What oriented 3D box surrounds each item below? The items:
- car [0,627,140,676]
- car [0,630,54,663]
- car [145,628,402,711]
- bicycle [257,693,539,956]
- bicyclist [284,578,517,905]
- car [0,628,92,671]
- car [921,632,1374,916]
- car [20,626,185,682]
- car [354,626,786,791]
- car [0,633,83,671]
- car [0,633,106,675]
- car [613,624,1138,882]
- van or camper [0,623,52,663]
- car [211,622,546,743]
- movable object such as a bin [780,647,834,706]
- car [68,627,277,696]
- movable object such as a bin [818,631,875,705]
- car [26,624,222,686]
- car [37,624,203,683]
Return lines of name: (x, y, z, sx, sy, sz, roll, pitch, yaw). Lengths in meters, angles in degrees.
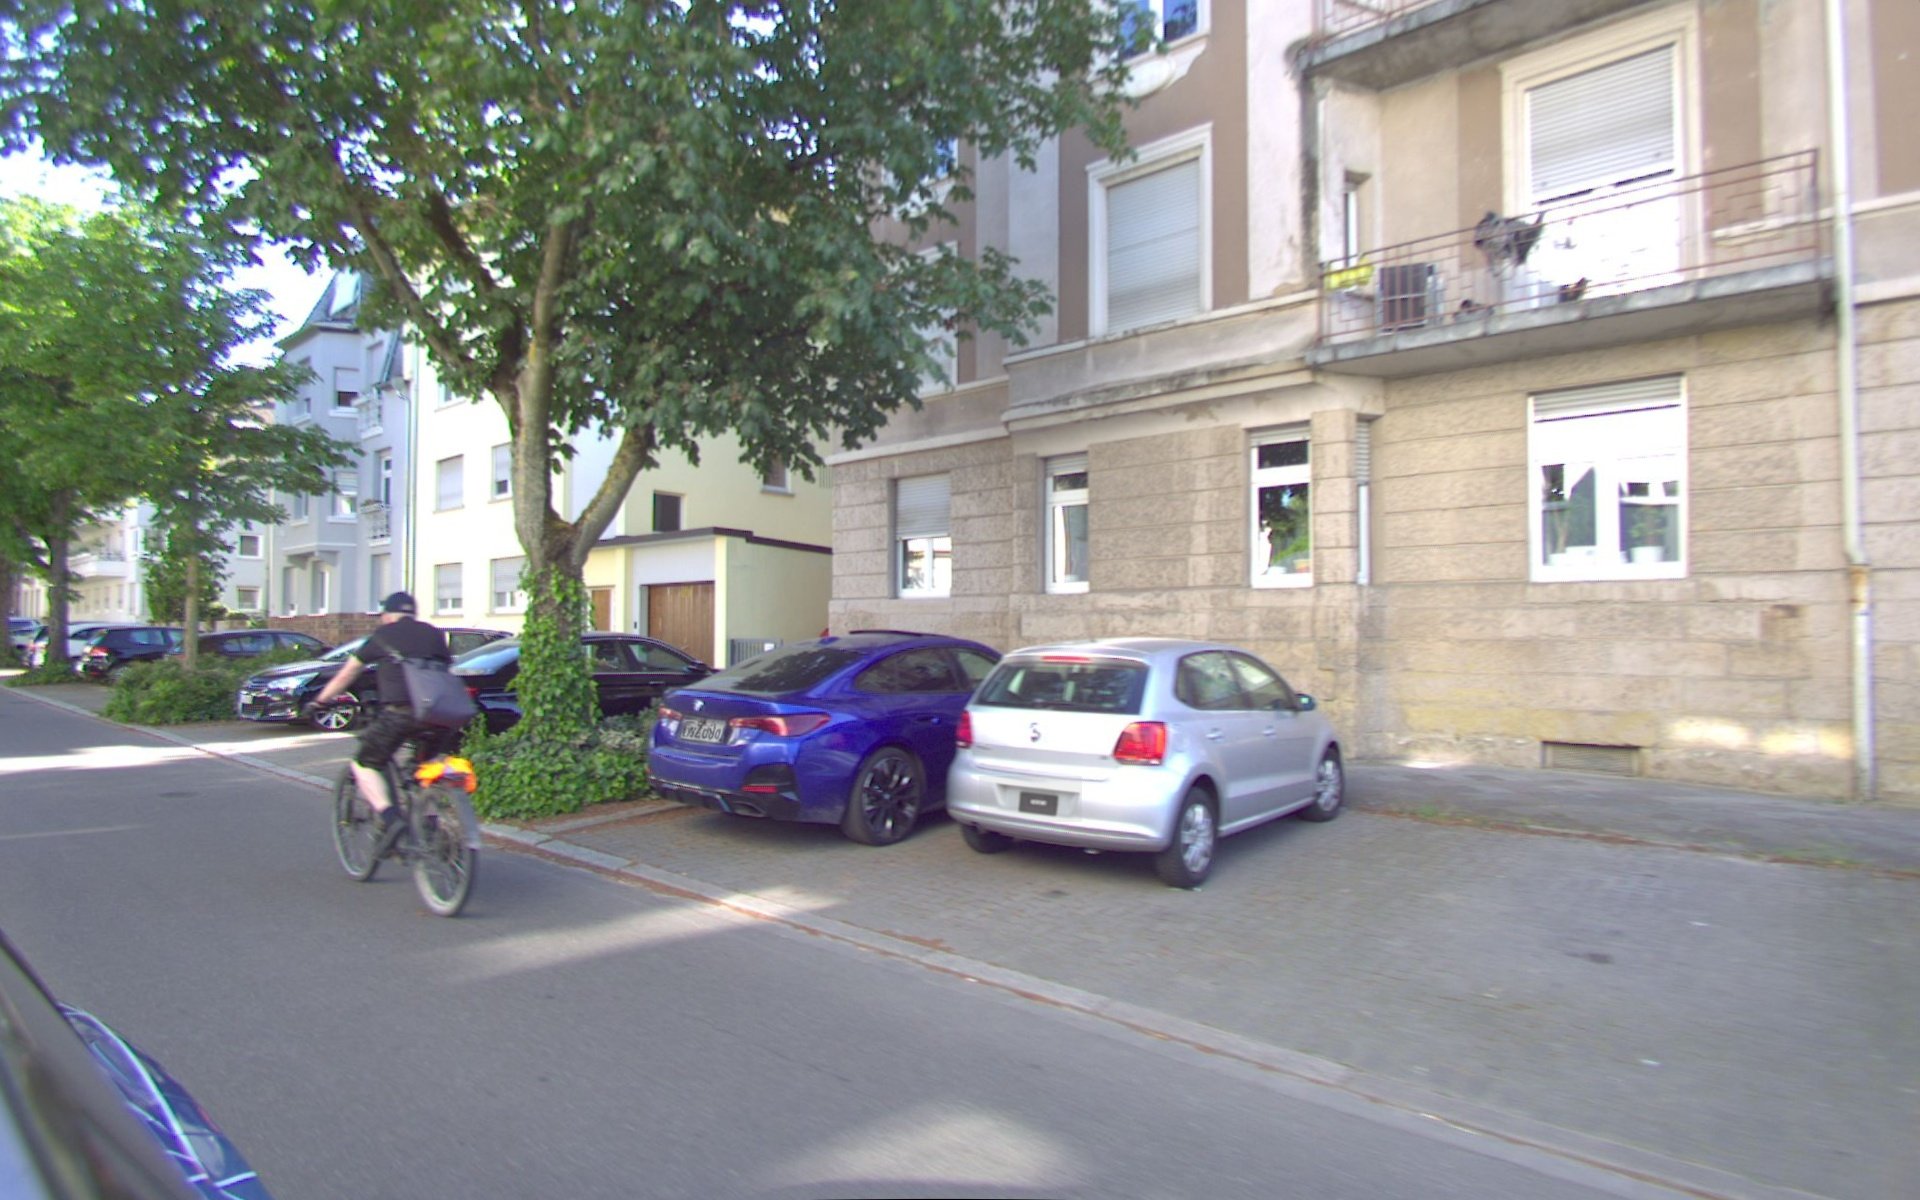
car: (-32.129, 1.819, 35.989, 1.822, 1.665, 4.340, -2, -3, 41)
car: (-45.578, 2.223, 47.874, 1.662, 1.510, 3.903, -2, -2, 42)
car: (-13.685, 1.339, 20.346, 1.769, 1.432, 3.947, -3, -2, 39)
bicycle: (-3.089, 1.096, 5.478, 1.890, 1.087, 0.712, -2, -3, 41)
bicyclist: (-3.031, 0.696, 5.470, 1.136, 1.548, 0.714, -2, -3, 41)
car: (-36.557, 1.905, 39.361, 1.876, 1.604, 3.948, -2, -3, 38)
car: (1.520, 0.963, 7.198, 1.728, 1.441, 3.545, -2, -2, 38)
car: (-27.152, 1.655, 32.107, 1.848, 1.587, 3.821, -2, -1, 43)
car: (-4.350, 1.083, 11.922, 1.866, 1.490, 4.430, 0, -1, 38)
car: (-38.753, 2.100, 41.337, 1.859, 1.510, 4.145, -2, -3, 39)
car: (-34.123, 1.964, 37.168, 1.695, 1.479, 3.947, -2, -3, 40)
car: (-0.400, 0.978, 8.446, 1.866, 1.490, 4.430, 0, -1, 38)
van or camper: (-47.677, 2.097, 49.600, 1.963, 1.929, 4.451, -1, -2, 40)
car: (-8.961, 1.162, 15.904, 1.996, 1.511, 4.136, 0, 0, 35)
movable object such as a bin: (-2.975, 1.464, 19.679, 0.832, 1.065, 0.666, 0, 0, 41)
car: (-19.655, 1.476, 25.367, 3.976, 1.455, 1.801, 0, 0, -44)
movable object such as a bin: (-2.285, 1.348, 20.301, 0.948, 1.408, 0.666, 0, 0, 41)
car: (-23.317, 1.483, 28.335, 1.805, 1.496, 3.982, -2, -1, 40)
car: (-24.956, 1.555, 30.151, 1.767, 1.587, 3.484, -2, -1, 35)
